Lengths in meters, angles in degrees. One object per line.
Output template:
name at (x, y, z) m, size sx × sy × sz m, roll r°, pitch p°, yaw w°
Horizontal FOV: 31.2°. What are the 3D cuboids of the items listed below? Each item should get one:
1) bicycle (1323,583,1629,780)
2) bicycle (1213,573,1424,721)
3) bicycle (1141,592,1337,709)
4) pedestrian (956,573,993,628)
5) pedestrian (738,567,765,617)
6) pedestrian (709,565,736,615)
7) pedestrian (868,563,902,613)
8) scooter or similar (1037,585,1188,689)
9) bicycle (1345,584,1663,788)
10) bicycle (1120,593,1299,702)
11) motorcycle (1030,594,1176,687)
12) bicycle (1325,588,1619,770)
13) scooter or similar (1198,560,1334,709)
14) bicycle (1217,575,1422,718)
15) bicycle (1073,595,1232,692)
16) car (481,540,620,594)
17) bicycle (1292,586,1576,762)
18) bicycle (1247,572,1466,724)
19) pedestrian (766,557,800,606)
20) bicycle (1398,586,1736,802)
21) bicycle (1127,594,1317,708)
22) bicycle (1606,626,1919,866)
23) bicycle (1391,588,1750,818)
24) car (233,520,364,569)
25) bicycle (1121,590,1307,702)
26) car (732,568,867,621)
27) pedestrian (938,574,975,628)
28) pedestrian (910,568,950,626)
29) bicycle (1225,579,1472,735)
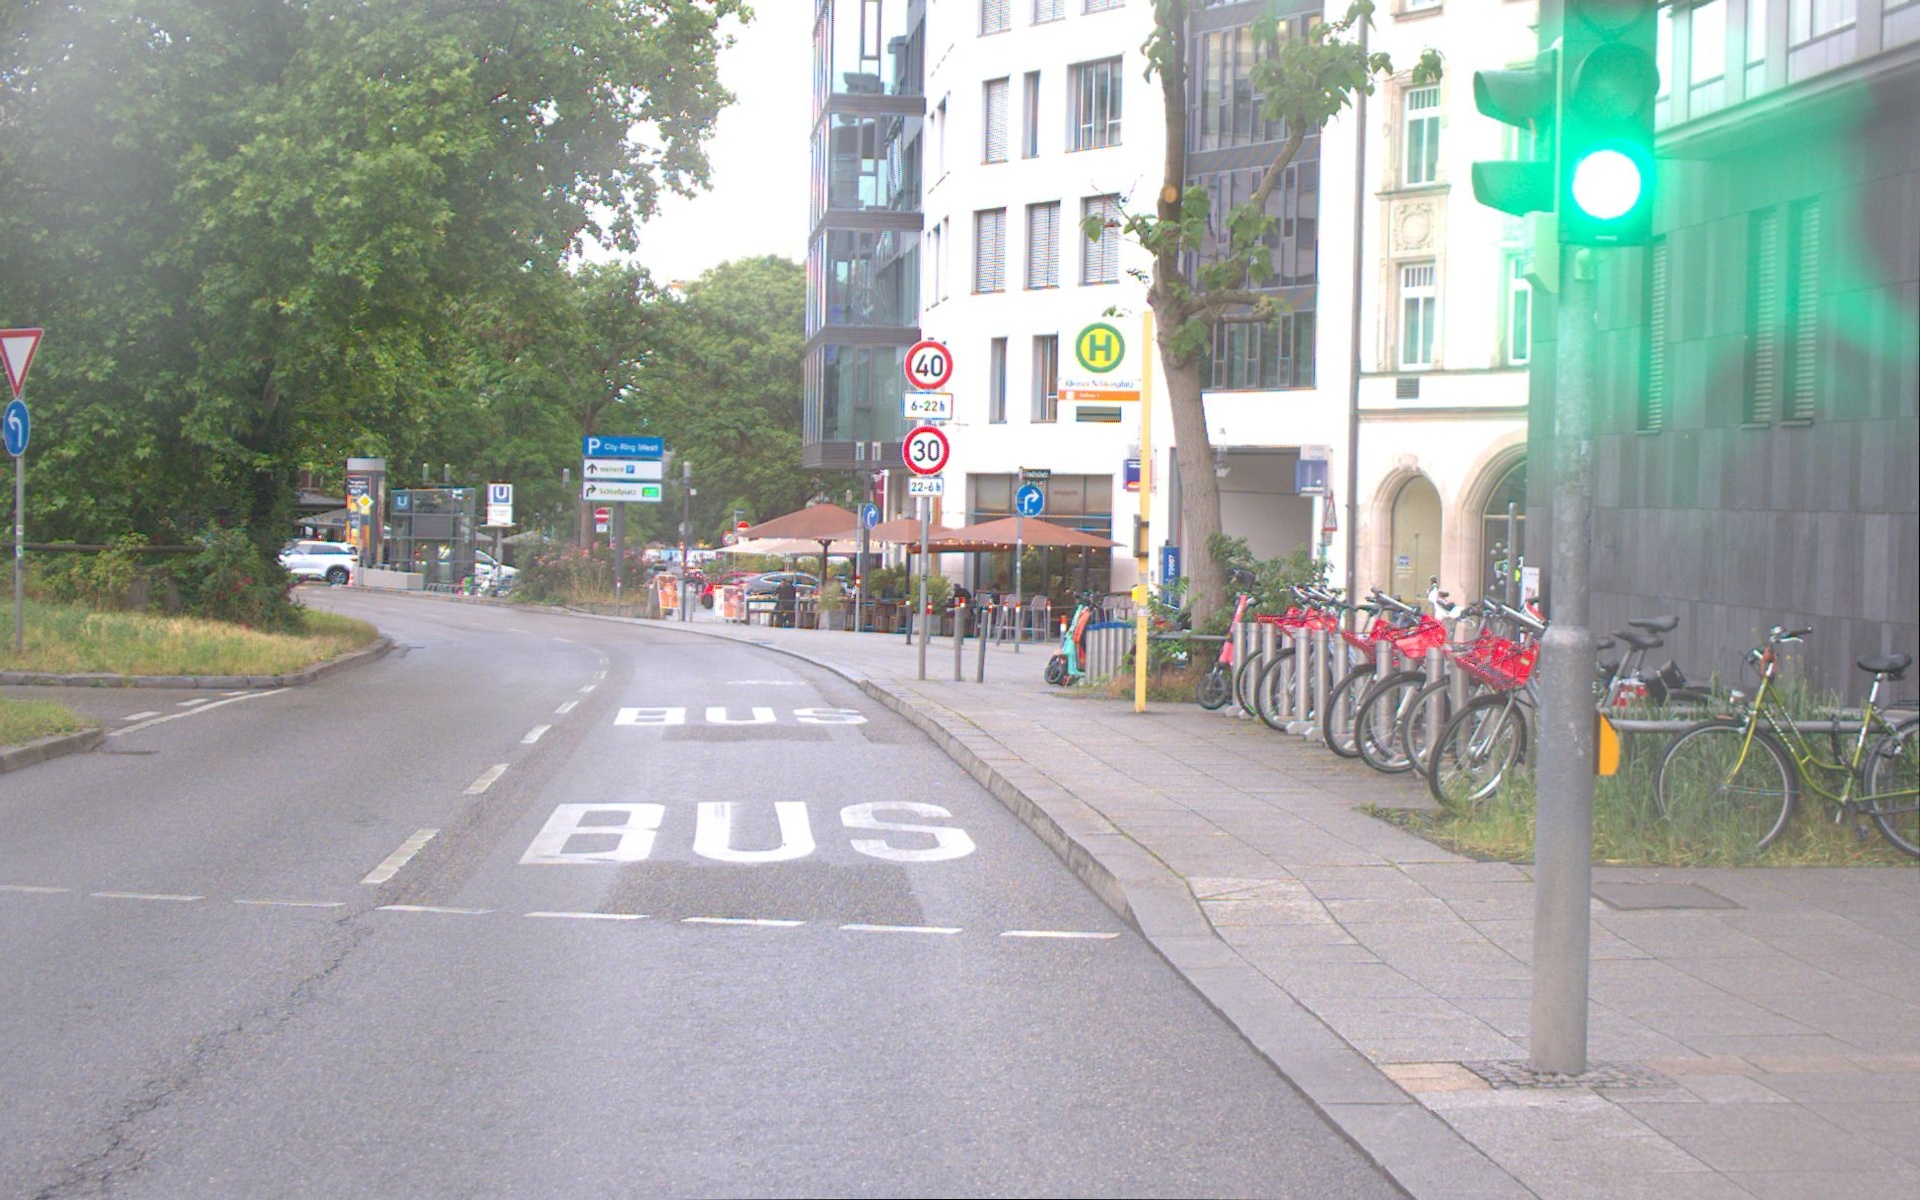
bicycle at (3.183, 0.495, 21.261) m, size 1.729 × 1.179 × 0.689 m, roll 0°, pitch 1°, yaw -10°
bicycle at (2.864, 0.375, 27.513) m, size 1.534 × 1.136 × 0.689 m, roll 1°, pitch -1°, yaw -10°
bicycle at (2.747, 0.495, 33.899) m, size 1.794 × 1.064 × 0.556 m, roll 3°, pitch -1°, yaw -9°
pedestrian at (0.355, 0.004, 85.619) m, size 0.626 × 1.322 × 0.636 m, roll 4°, pitch 0°, yaw -29°
pedestrian at (-5.648, -0.216, 93.281) m, size 0.606 × 1.322 × 0.568 m, roll 4°, pitch 0°, yaw -8°
pedestrian at (-6.431, -0.270, 93.178) m, size 0.606 × 1.322 × 0.568 m, roll 4°, pitch 0°, yaw -8°
pedestrian at (-2.089, -0.330, 95.617) m, size 0.817 × 1.322 × 0.636 m, roll 4°, pitch 0°, yaw -8°
scooter or similar at (1.949, 0.474, 44.071) m, size 1.791 × 1.239 × 0.596 m, roll 3°, pitch -1°, yaw -9°
bicycle at (3.228, 0.503, 20.461) m, size 1.729 × 1.179 × 0.689 m, roll 0°, pitch 1°, yaw -10°
bicycle at (2.712, 0.513, 37.433) m, size 1.794 × 1.104 × 0.670 m, roll 3°, pitch -1°, yaw -10°
motorcycle at (1.871, 0.535, 45.053) m, size 1.791 × 1.136 × 0.596 m, roll 3°, pitch -1°, yaw -9°
bicycle at (3.277, 0.499, 22.073) m, size 1.729 × 1.136 × 0.689 m, roll 0°, pitch 1°, yaw -10°
scooter or similar at (2.630, 0.296, 29.553) m, size 1.105 × 1.253 × 0.302 m, roll 1°, pitch -1°, yaw -11°
bicycle at (2.966, 0.384, 28.413) m, size 1.534 × 1.136 × 0.663 m, roll 1°, pitch -1°, yaw -10°
bicycle at (2.357, 0.535, 42.096) m, size 1.794 × 1.104 × 0.670 m, roll 3°, pitch -1°, yaw -10°
car at (-14.471, -1.190, 121.734) m, size 4.734 × 1.685 × 2.005 m, roll 2°, pitch 1°, yaw -4°
bicycle at (3.136, 0.486, 22.821) m, size 1.729 × 1.136 × 0.689 m, roll 0°, pitch 1°, yaw -10°
bicycle at (3.080, 0.373, 26.757) m, size 1.534 × 1.136 × 0.689 m, roll 1°, pitch -1°, yaw -10°
pedestrian at (-4.902, -0.510, 95.174) m, size 0.817 × 1.322 × 0.636 m, roll 4°, pitch 0°, yaw -8°
bicycle at (3.412, 0.519, 19.378) m, size 1.729 × 1.179 × 0.689 m, roll 0°, pitch 1°, yaw -10°
bicycle at (2.644, 0.515, 34.737) m, size 1.794 × 1.064 × 0.556 m, roll 3°, pitch -1°, yaw -9°
bicycle at (3.964, 0.668, 16.019) m, size 1.729 × 1.066 × 0.689 m, roll 0°, pitch 1°, yaw -10°
bicycle at (3.226, 0.535, 18.226) m, size 1.729 × 1.179 × 0.689 m, roll 0°, pitch 1°, yaw -10°
car at (-24.437, -2.050, 127.122) m, size 4.332 × 1.661 × 1.953 m, roll 2°, pitch 0°, yaw 6°
bicycle at (2.623, 0.475, 35.537) m, size 1.794 × 1.064 × 0.556 m, roll 3°, pitch -1°, yaw -9°
car at (-5.818, -0.192, 124.097) m, size 4.734 × 1.685 × 2.005 m, roll 2°, pitch 1°, yaw -4°
pedestrian at (-0.087, 0.031, 86.932) m, size 0.626 × 1.322 × 0.636 m, roll 4°, pitch 0°, yaw -29°
pedestrian at (-0.693, -0.072, 80.315) m, size 0.773 × 1.322 × 0.636 m, roll 4°, pitch 0°, yaw -9°
bicycle at (2.928, 0.428, 25.936) m, size 1.705 × 1.136 × 0.689 m, roll 1°, pitch -1°, yaw -10°
